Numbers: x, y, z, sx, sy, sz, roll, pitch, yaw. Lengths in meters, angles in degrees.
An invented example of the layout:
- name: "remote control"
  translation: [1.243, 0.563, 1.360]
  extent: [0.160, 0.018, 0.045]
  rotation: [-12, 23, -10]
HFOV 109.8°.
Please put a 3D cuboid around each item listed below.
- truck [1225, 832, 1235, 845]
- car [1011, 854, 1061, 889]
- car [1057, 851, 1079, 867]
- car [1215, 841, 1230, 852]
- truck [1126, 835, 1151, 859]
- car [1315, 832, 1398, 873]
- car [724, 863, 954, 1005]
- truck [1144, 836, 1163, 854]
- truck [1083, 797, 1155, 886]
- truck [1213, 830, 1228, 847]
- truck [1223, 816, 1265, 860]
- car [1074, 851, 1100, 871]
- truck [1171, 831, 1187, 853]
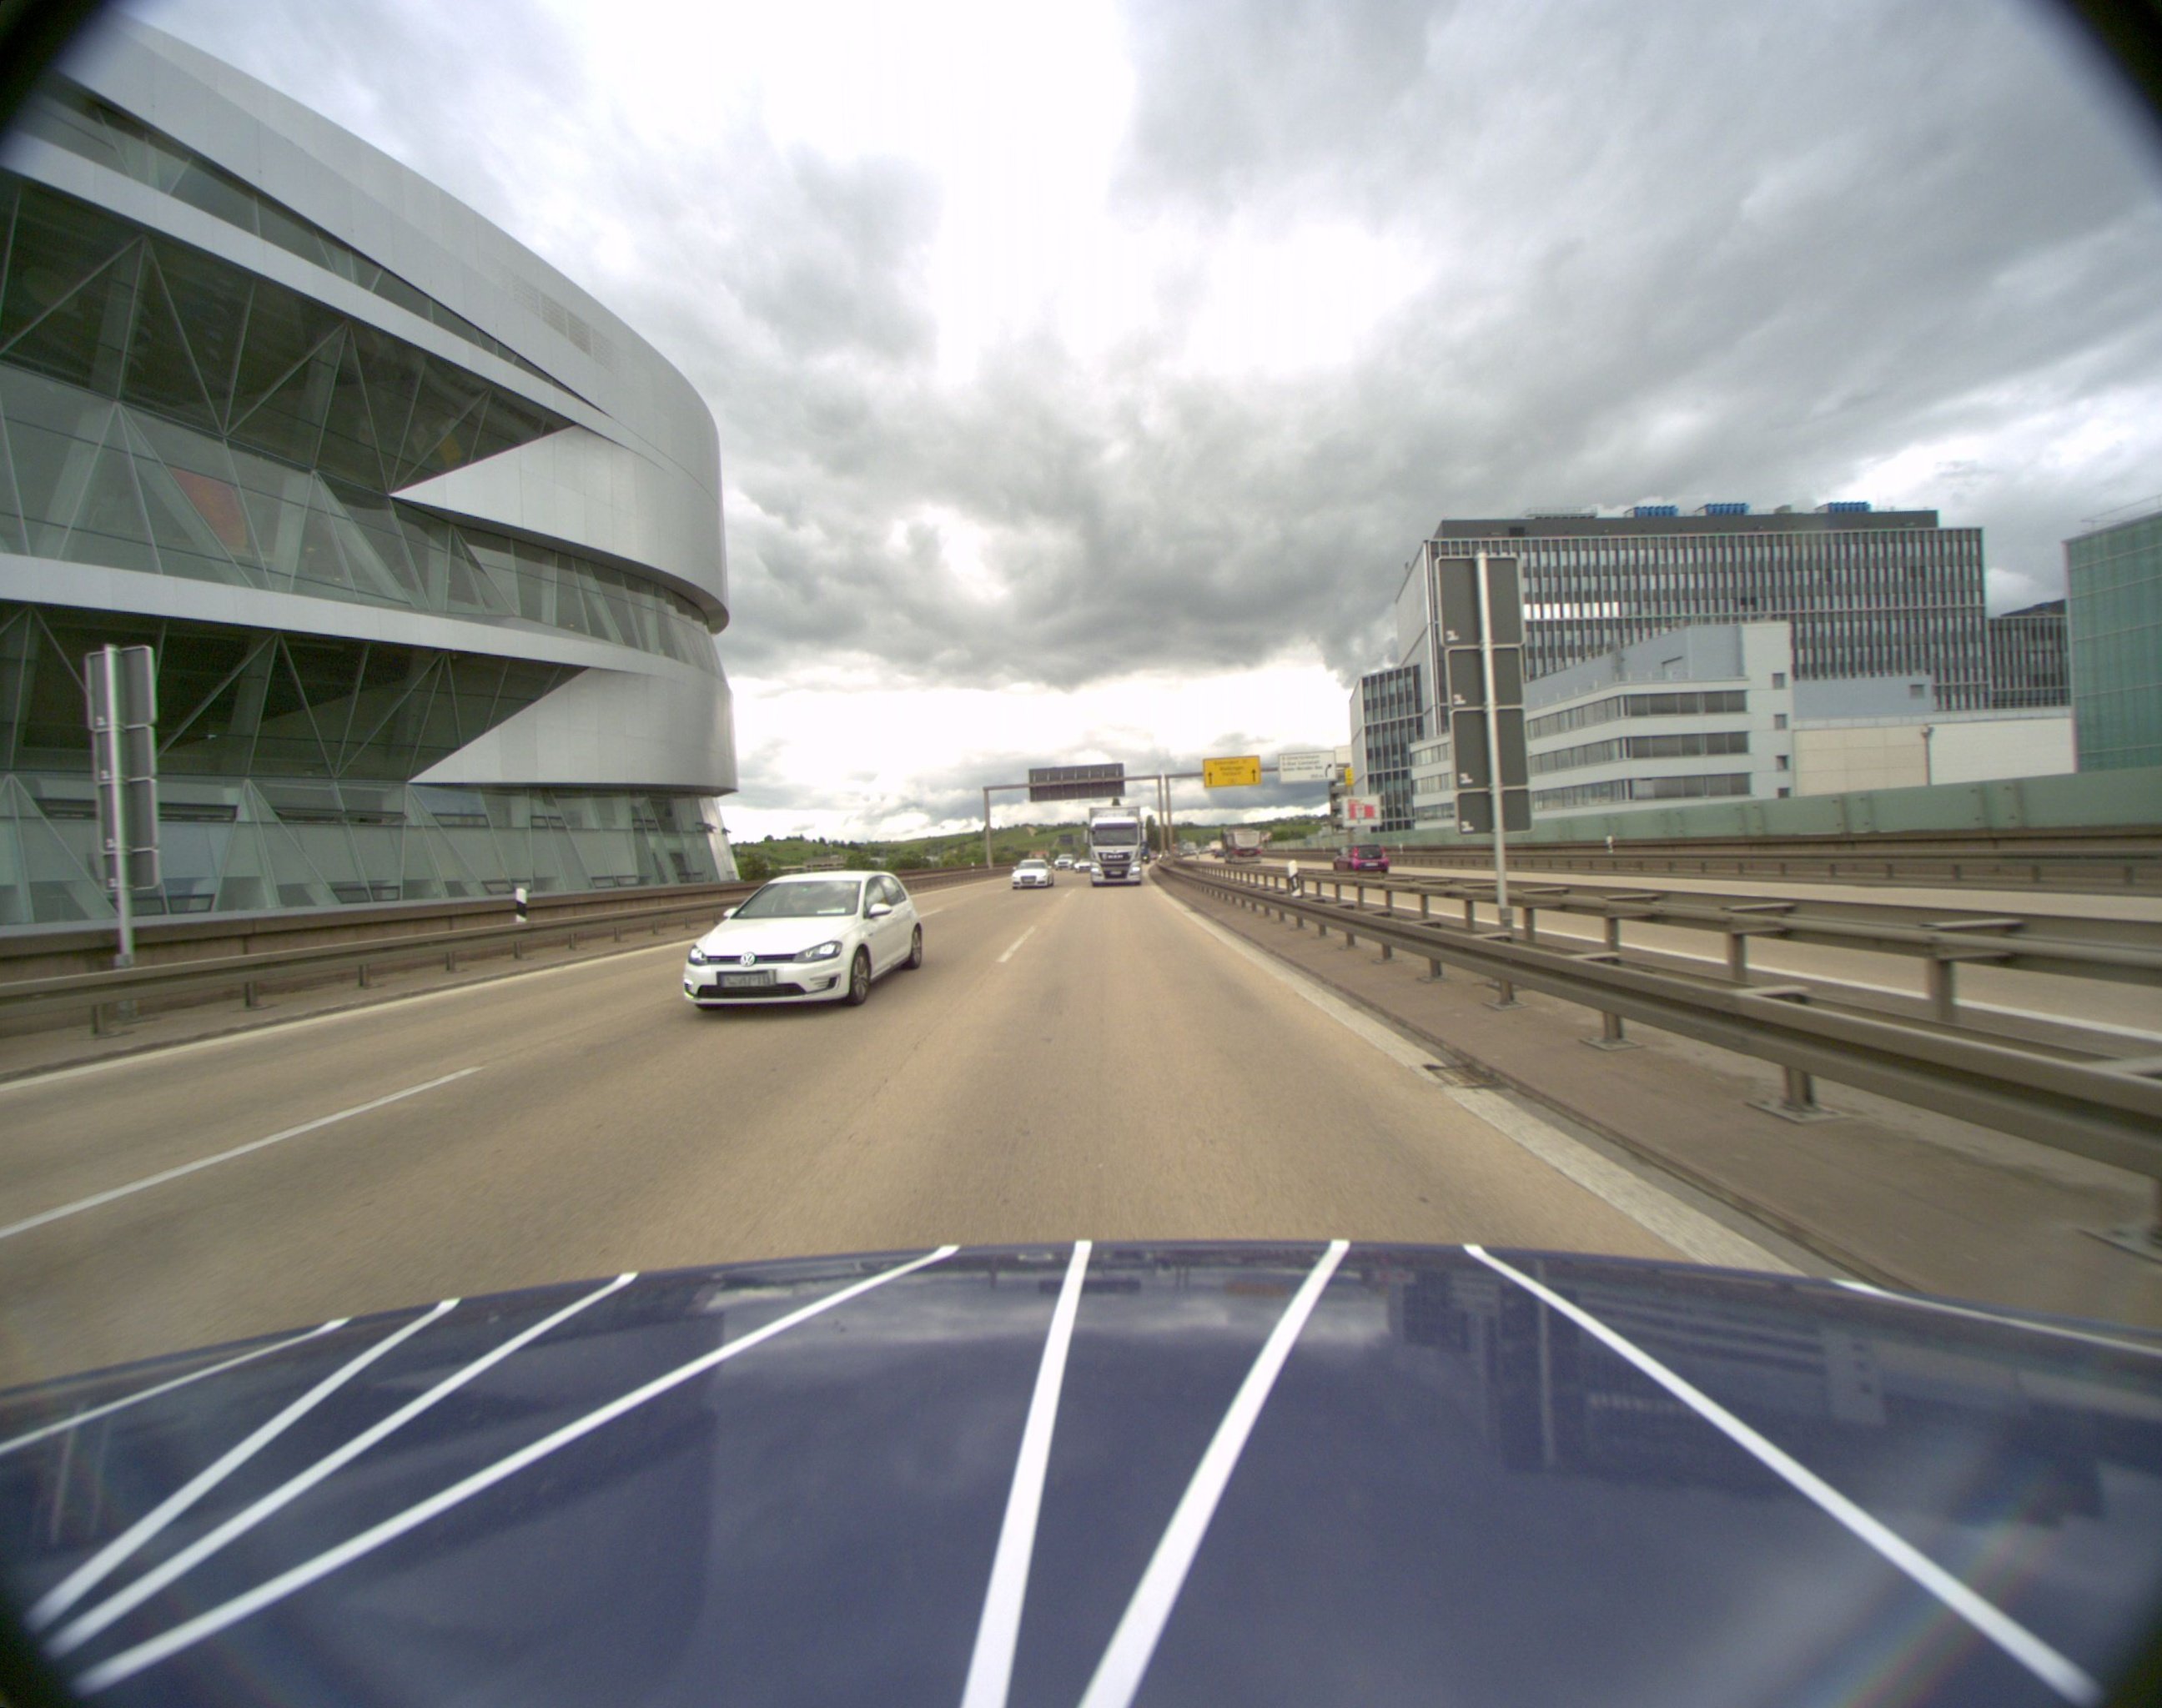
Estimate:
- name: "truck"
  translation: [49.998, -5.213, 255.408]
  extent: [3.062, 4.042, 11.865]
  rotation: [-2, 1, 12]
- name: "car"
  translation: [-2.195, 0.854, 38.337]
  extent: [1.930, 1.499, 4.062]
  rotation: [-3, 1, 4]
- name: "car"
  translation: [-1.360, 0.509, 81.241]
  extent: [1.930, 1.585, 4.062]
  rotation: [-3, 1, 4]
- name: "car"
  translation: [21.594, -1.172, 115.930]
  extent: [1.997, 1.665, 4.411]
  rotation: [-2, 1, 12]
- name: "truck"
  translation: [8.227, -1.033, 107.574]
  extent: [3.063, 3.168, 8.306]
  rotation: [-2, 1, 6]
- name: "car"
  translation: [12.437, -0.099, 34.609]
  extent: [1.999, 1.665, 4.406]
  rotation: [-2, 1, -2]
- name: "car"
  translation: [-3.203, 0.971, 11.012]
  extent: [1.930, 1.499, 4.060]
  rotation: [-2, 1, 1]
- name: "truck"
  translation: [13.701, -1.698, 143.613]
  extent: [3.063, 3.168, 8.307]
  rotation: [-2, 1, 8]
- name: "truck"
  translation: [1.938, -0.610, 38.359]
  extent: [3.142, 4.014, 5.689]
  rotation: [-3, 1, 3]
- name: "truck"
  translation: [32.439, -3.566, 176.632]
  extent: [3.062, 3.754, 12.527]
  rotation: [-2, 1, 11]
- name: "truck"
  translation: [15.807, -1.541, 74.440]
  extent: [2.816, 3.787, 12.024]
  rotation: [-2, 1, 7]
- name: "car"
  translation: [0.585, 0.564, 67.876]
  extent: [1.930, 1.585, 4.062]
  rotation: [-3, 1, 4]
- name: "truck"
  translation: [21.609, -2.621, 166.511]
  extent: [3.062, 4.536, 12.077]
  rotation: [-2, 1, 9]
